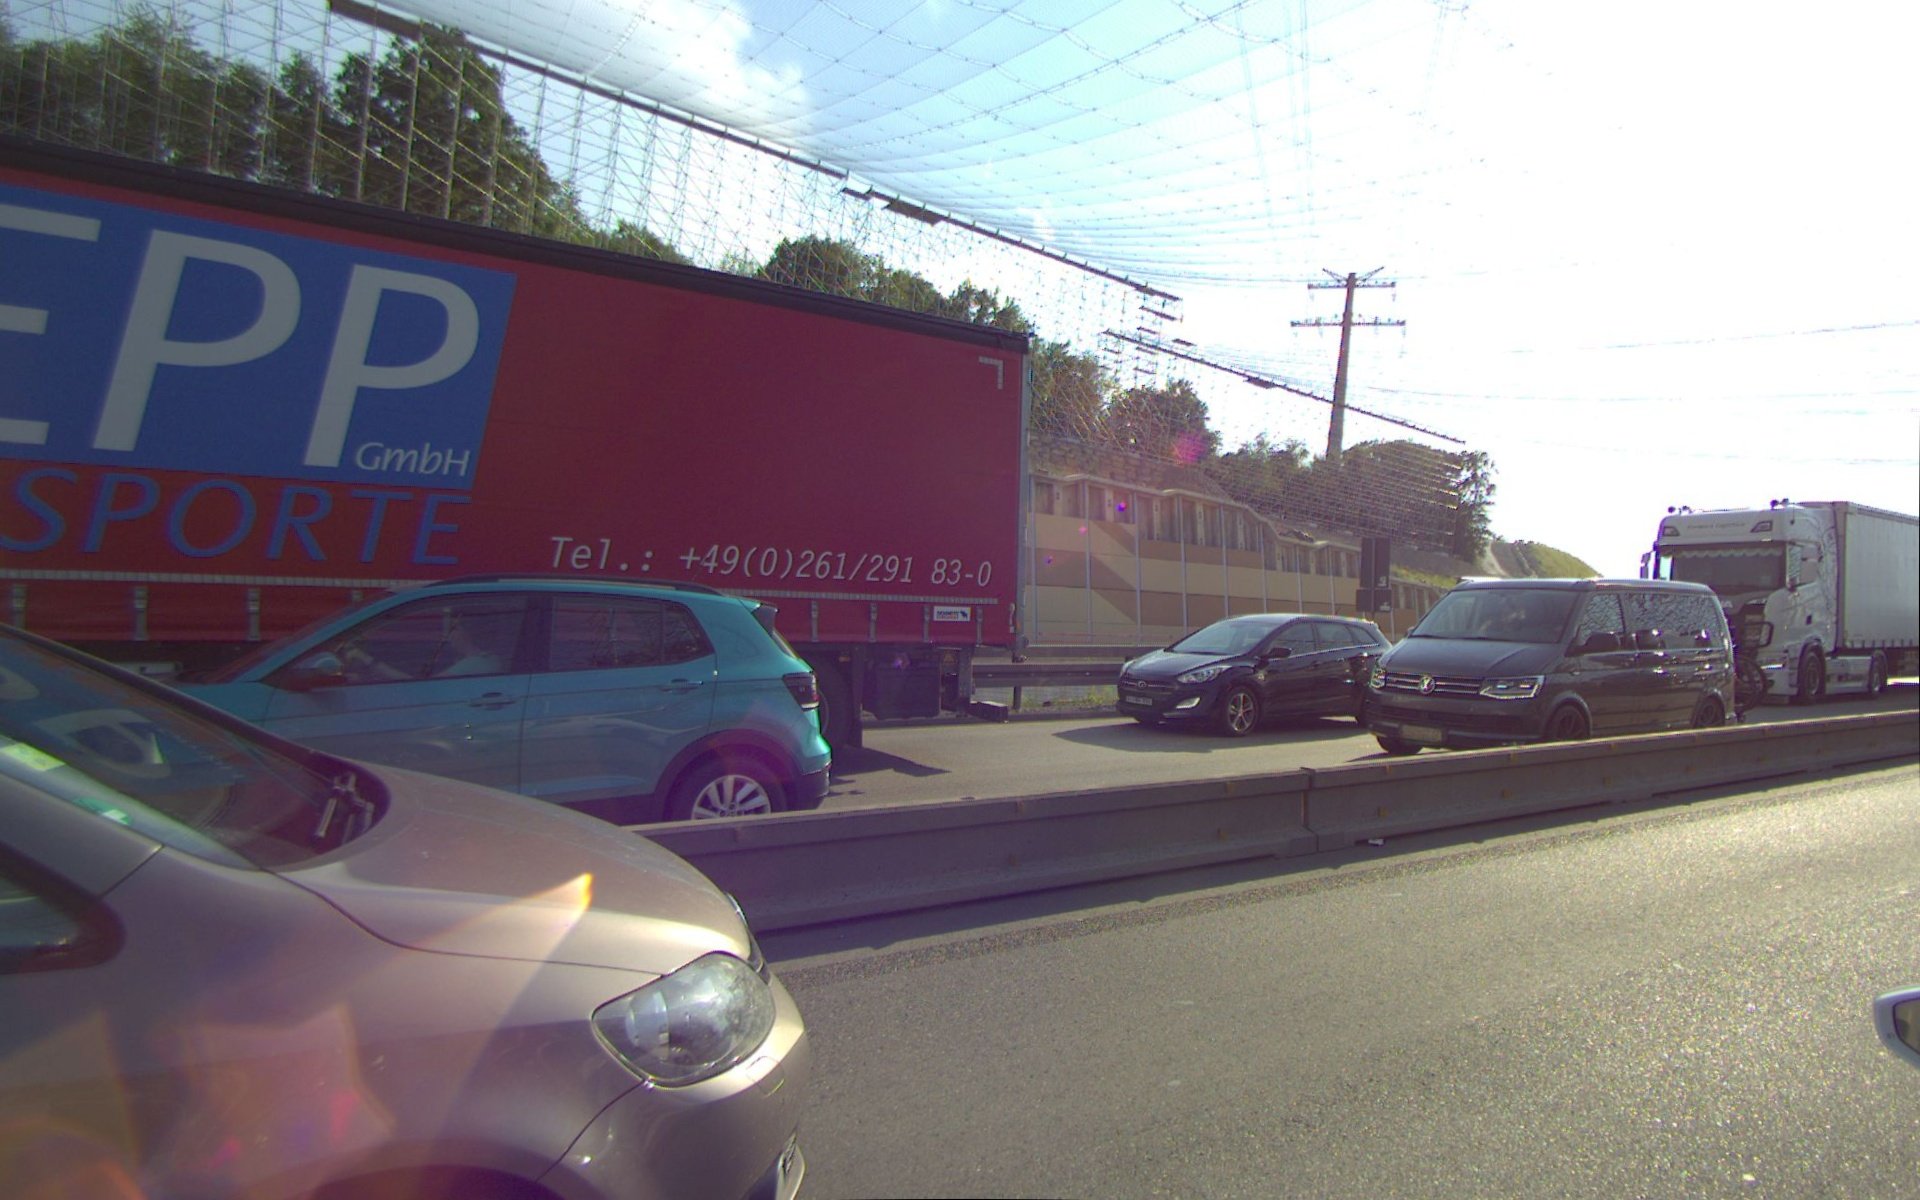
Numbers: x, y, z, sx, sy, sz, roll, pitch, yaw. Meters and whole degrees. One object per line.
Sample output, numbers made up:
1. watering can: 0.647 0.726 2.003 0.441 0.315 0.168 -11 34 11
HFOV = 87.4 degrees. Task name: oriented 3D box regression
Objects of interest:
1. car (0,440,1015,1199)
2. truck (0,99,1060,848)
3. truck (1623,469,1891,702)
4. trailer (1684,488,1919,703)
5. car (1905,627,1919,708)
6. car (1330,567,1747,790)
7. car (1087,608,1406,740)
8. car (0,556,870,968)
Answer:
1. car: -2.080 0.590 1.500 4.052 1.595 1.675 2 0 -30
2. truck: -5.596 -0.688 7.132 13.655 4.196 2.772 2 -1 -32
3. truck: 16.900 -0.188 21.194 6.040 4.286 2.647 2 -1 -33
4. trailer: 22.509 0.033 24.908 13.773 4.290 2.637 2 1 -34
5. car: 20.410 1.344 19.580 4.702 1.522 1.774 2 1 -33
6. car: 6.399 0.731 10.932 4.808 1.961 1.864 2 1 -32
7. car: 3.838 0.900 13.275 4.091 1.467 1.713 2 0 -31
8. car: -2.762 0.632 5.298 4.218 1.555 1.733 2 0 -31
